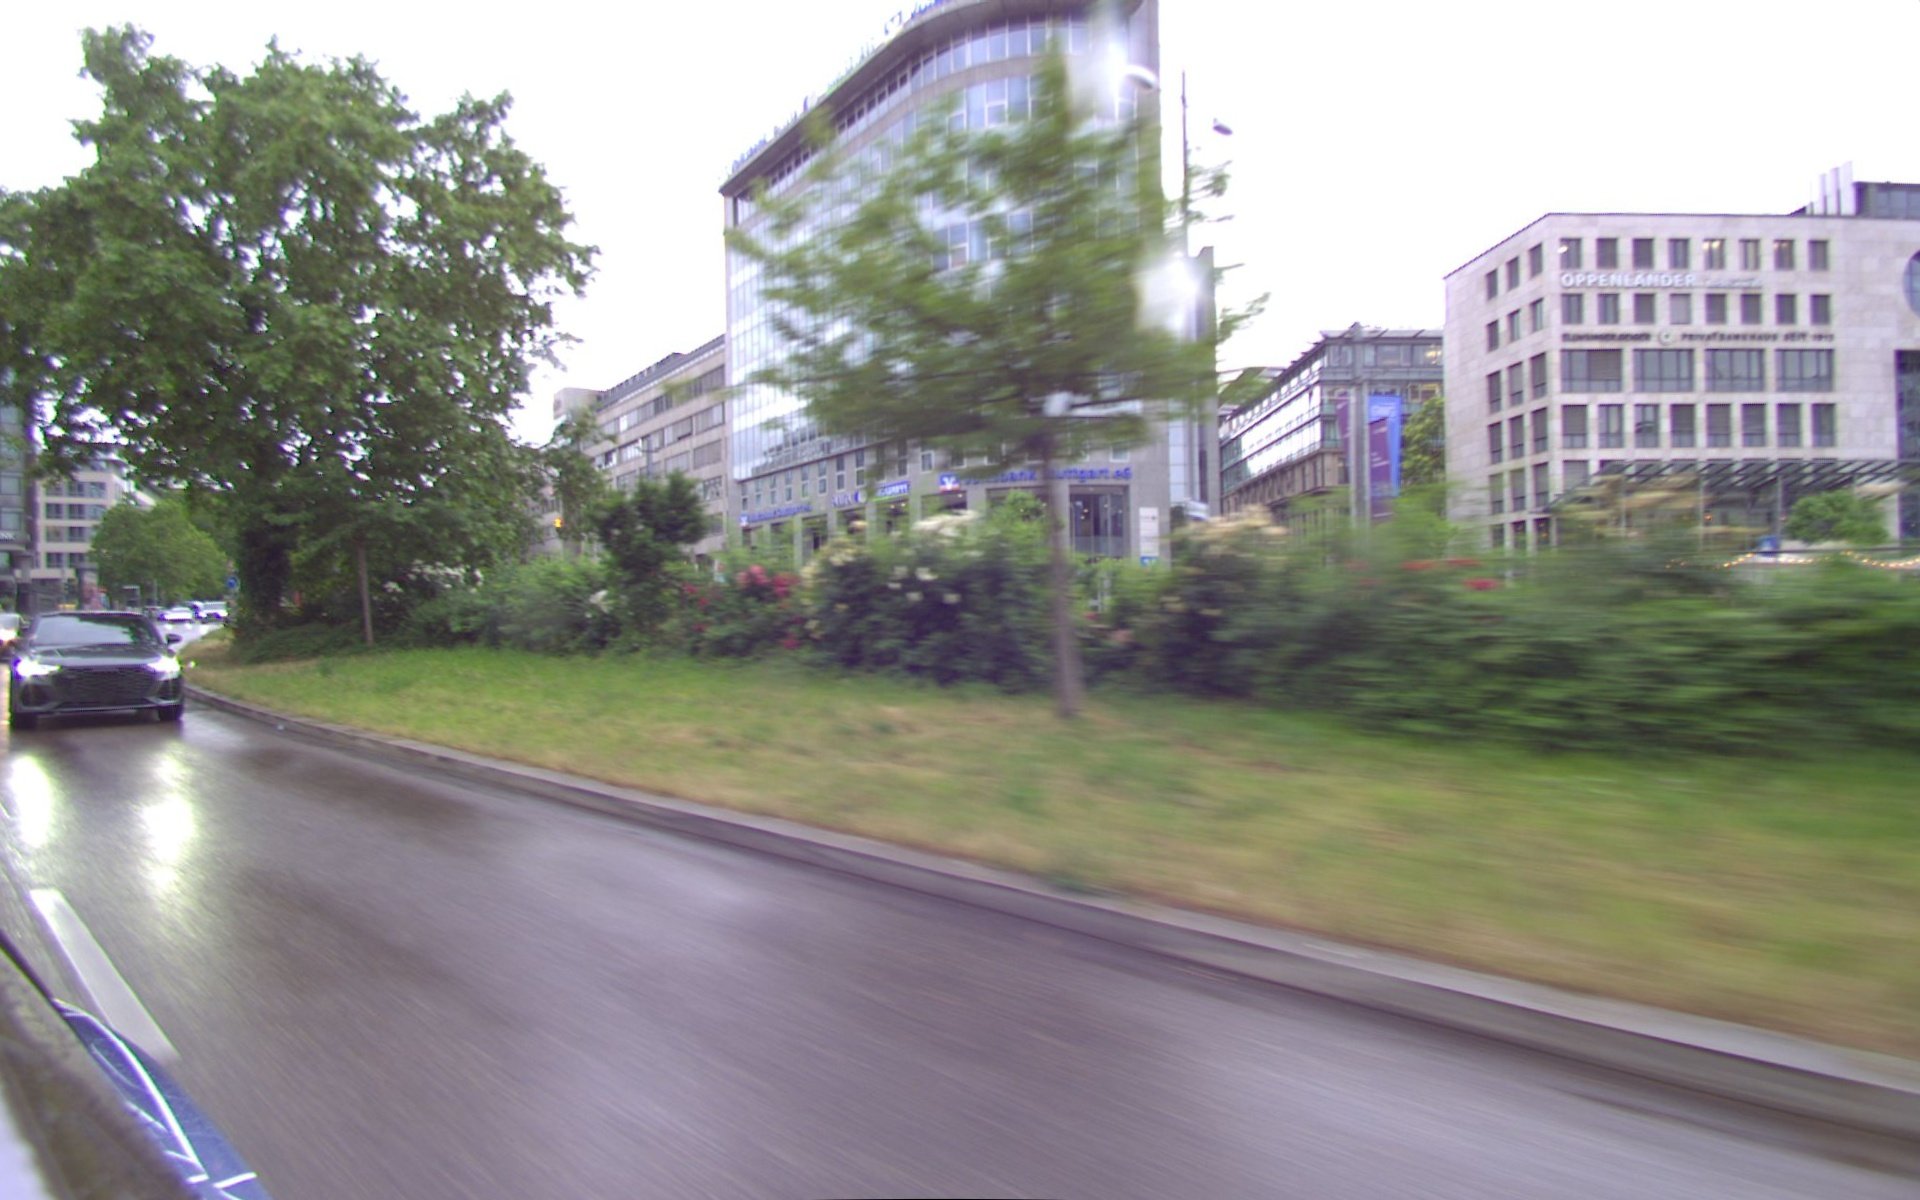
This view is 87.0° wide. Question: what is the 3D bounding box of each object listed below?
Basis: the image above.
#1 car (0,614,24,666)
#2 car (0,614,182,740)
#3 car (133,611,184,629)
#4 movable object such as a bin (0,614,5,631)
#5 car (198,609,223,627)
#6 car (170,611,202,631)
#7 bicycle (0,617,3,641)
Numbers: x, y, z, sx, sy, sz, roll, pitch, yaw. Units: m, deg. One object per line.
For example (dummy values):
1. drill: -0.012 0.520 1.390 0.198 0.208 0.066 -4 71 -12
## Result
1. car: -29.978 1.222 31.173 1.571 1.522 3.714 -1 0 -42
2. car: -12.748 0.983 14.796 1.838 1.529 4.350 -1 0 -42
3. car: -90.226 2.244 113.959 4.154 1.826 2.000 -2 1 0
4. movable object such as a bin: -75.424 1.742 79.149 0.792 1.275 1.792 1 -1 -37
5. car: -63.502 1.505 85.777 1.580 1.396 3.027 -3 1 -35
6. car: -70.947 1.908 92.799 2.040 1.599 4.118 -3 1 -35
7. bicycle: -48.221 1.423 49.723 1.708 1.192 0.690 1 -1 -41
